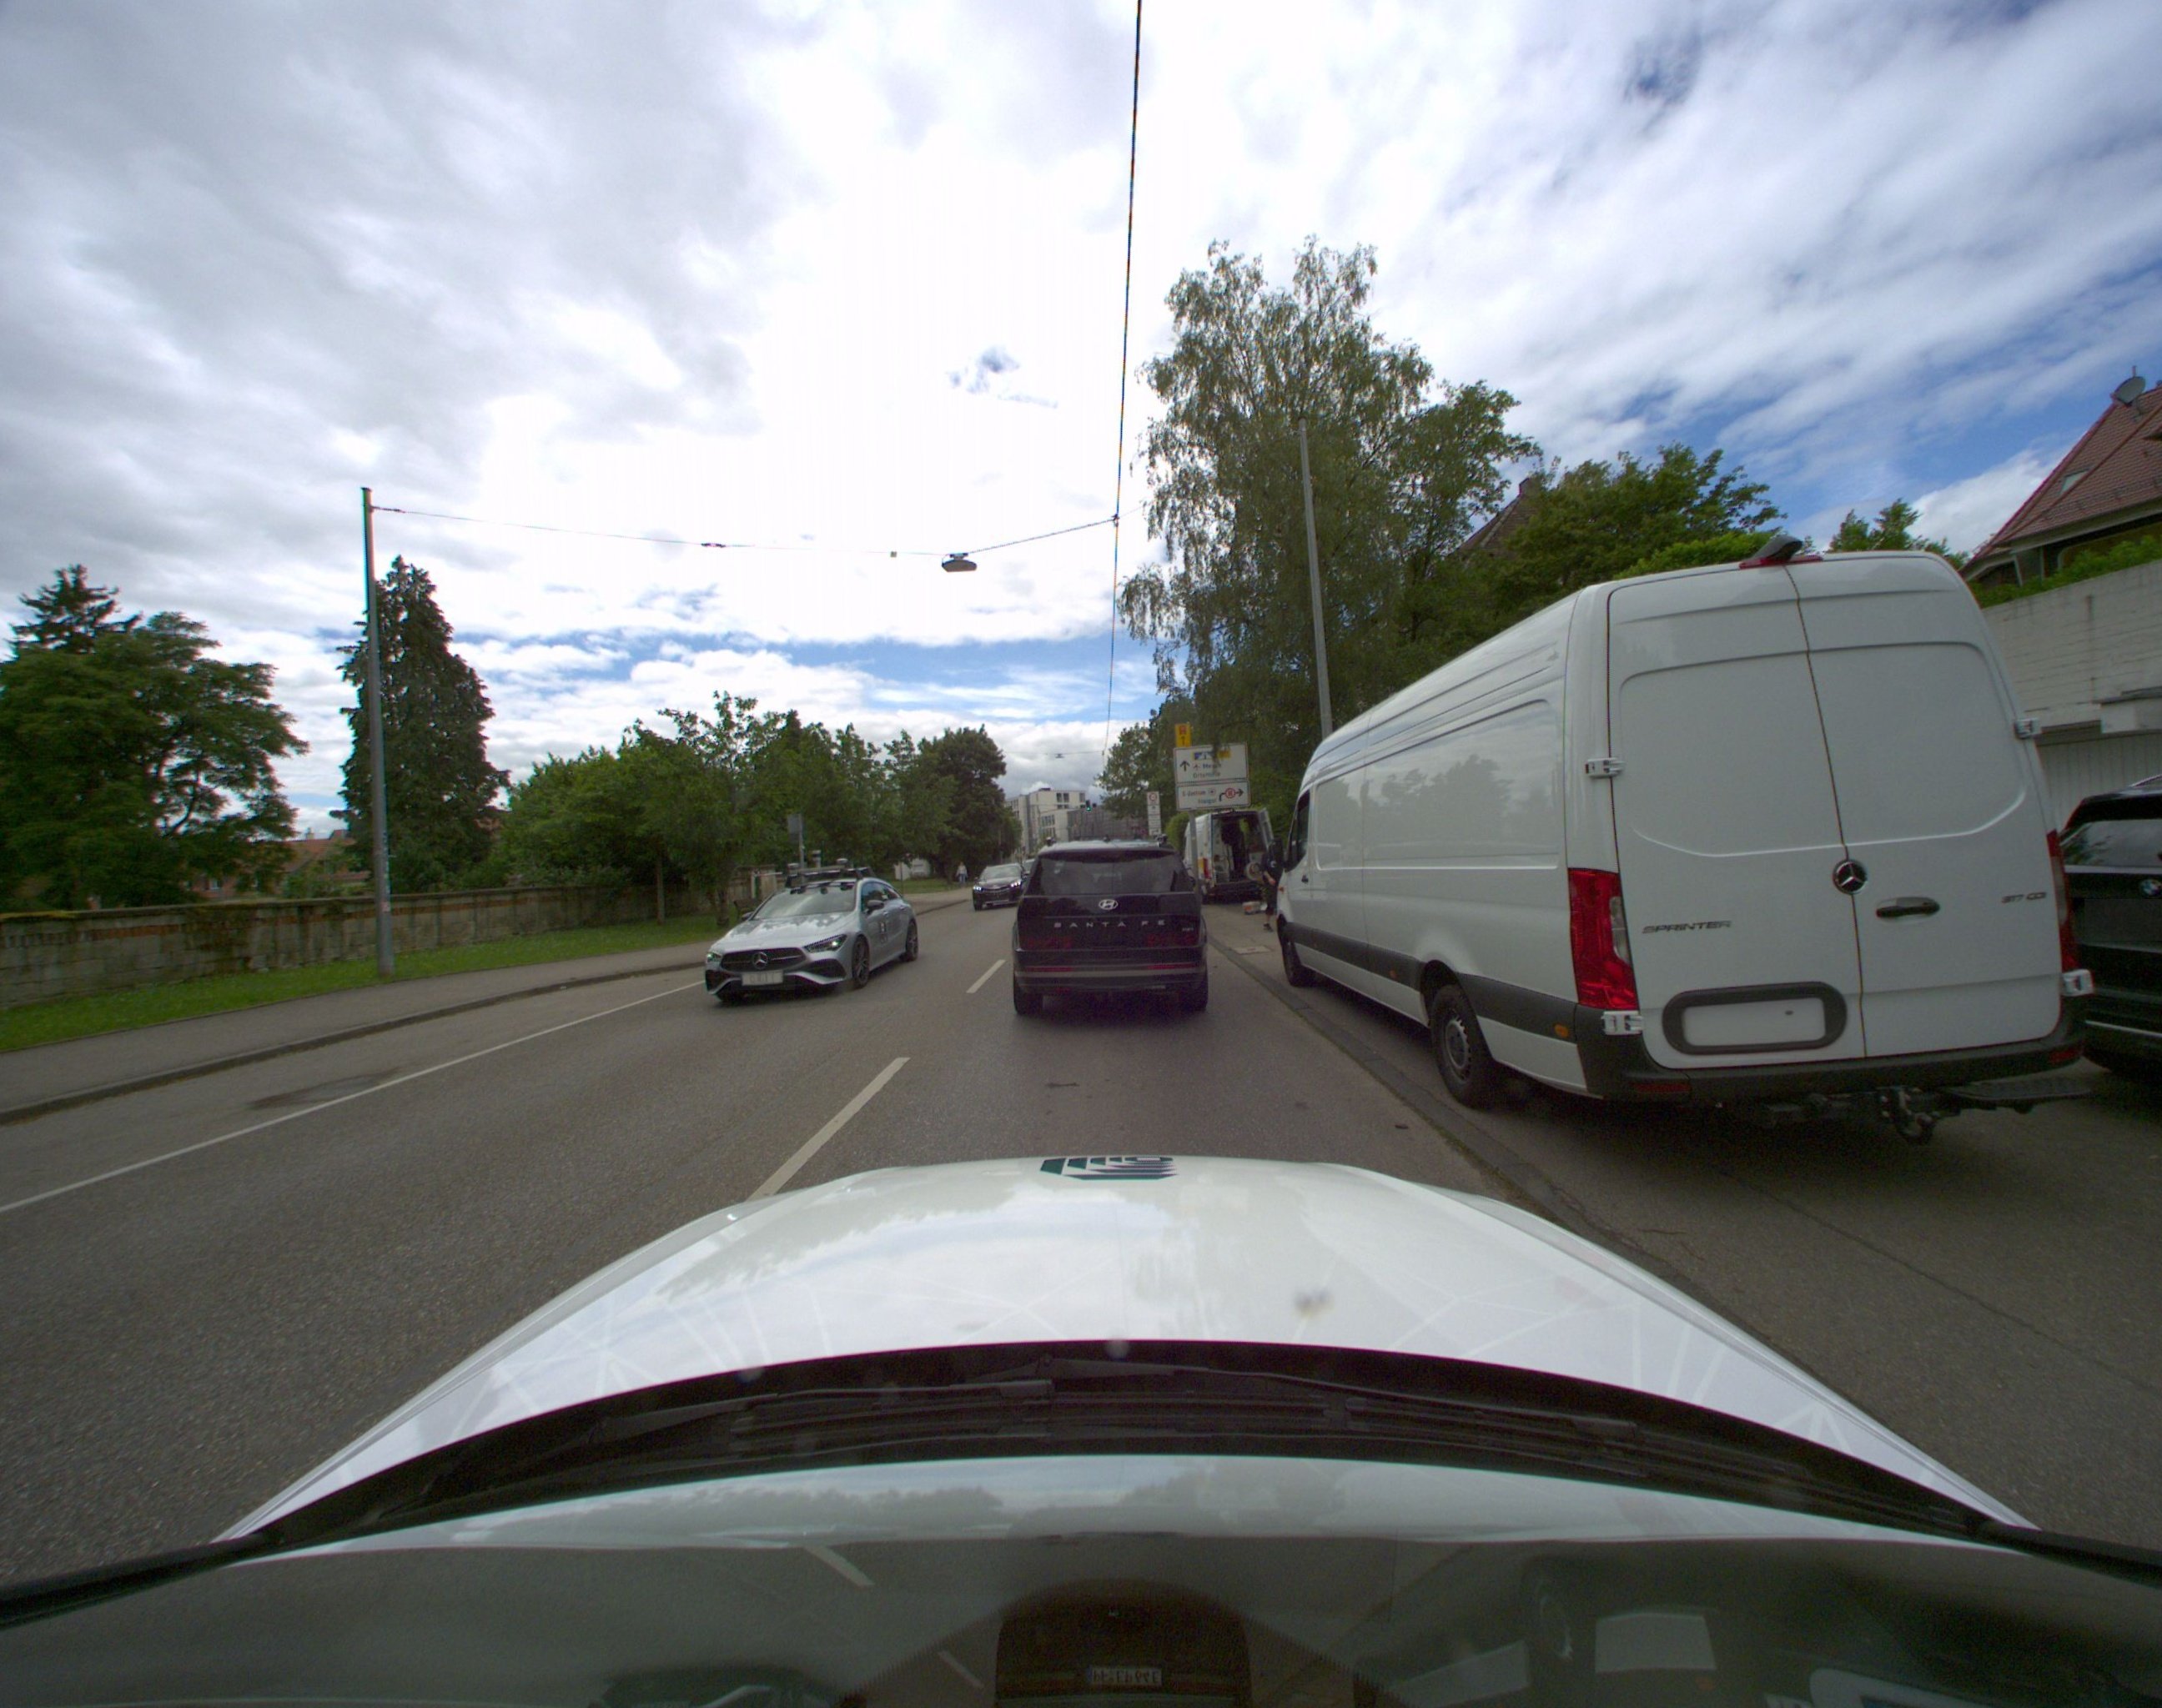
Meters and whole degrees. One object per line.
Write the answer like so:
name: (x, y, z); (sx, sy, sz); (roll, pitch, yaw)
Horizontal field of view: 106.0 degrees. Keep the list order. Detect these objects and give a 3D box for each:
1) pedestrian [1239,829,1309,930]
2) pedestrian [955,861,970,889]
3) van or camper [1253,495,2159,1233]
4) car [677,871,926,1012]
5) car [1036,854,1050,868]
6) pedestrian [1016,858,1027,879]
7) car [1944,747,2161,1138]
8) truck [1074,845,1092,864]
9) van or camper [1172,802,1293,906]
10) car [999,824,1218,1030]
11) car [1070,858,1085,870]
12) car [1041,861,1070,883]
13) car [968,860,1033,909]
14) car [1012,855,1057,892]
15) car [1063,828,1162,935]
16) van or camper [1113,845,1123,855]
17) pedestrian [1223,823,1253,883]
pedestrian: (3.511, 0.460, 14.818); (0.782, 1.720, 0.757); (-6, 2, 45)
pedestrian: (-7.574, 1.311, 52.103); (0.764, 1.748, 0.905); (-2, -1, 1)
van or camper: (3.060, 0.066, 6.382); (1.984, 2.625, 6.546); (-6, -1, 2)
car: (-3.603, 1.044, 11.477); (1.750, 1.403, 4.416); (-5, -1, 2)
car: (-6.757, 1.184, 143.774); (2.328, 2.315, 4.950); (-3, 0, -4)
pedestrian: (-5.573, 1.369, 76.515); (0.826, 2.014, 1.048); (0, -1, 4)
car: (6.770, 0.240, 3.399); (4.365, 1.675, 1.696); (-4, -1, 2)
truck: (0.445, 0.123, 177.805); (3.101, 3.859, 9.606); (-3, 0, -4)
van or camper: (4.333, 0.076, 24.662); (2.332, 2.494, 6.603); (-6, -1, 1)
car: (0.302, 0.649, 9.063); (1.890, 1.776, 3.995); (0, -1, 2)
car: (-0.460, 1.392, 110.914); (1.830, 1.538, 4.271); (-3, 0, 3)
car: (-1.897, 1.351, 62.647); (1.808, 1.419, 4.830); (-6, -1, 1)
car: (-2.805, 1.048, 29.093); (1.695, 1.483, 4.001); (-5, -1, 2)
car: (-2.398, 0.998, 42.890); (1.873, 1.644, 4.129); (-5, -1, 1)
car: (0.661, 0.551, 17.618); (1.890, 2.042, 3.995); (0, -1, 2)
van or camper: (7.774, -0.883, 171.934); (1.791, 1.999, 3.821); (0, -1, -2)
pedestrian: (4.524, -0.025, 23.479); (0.732, 1.643, 0.803); (-4, -1, 11)
